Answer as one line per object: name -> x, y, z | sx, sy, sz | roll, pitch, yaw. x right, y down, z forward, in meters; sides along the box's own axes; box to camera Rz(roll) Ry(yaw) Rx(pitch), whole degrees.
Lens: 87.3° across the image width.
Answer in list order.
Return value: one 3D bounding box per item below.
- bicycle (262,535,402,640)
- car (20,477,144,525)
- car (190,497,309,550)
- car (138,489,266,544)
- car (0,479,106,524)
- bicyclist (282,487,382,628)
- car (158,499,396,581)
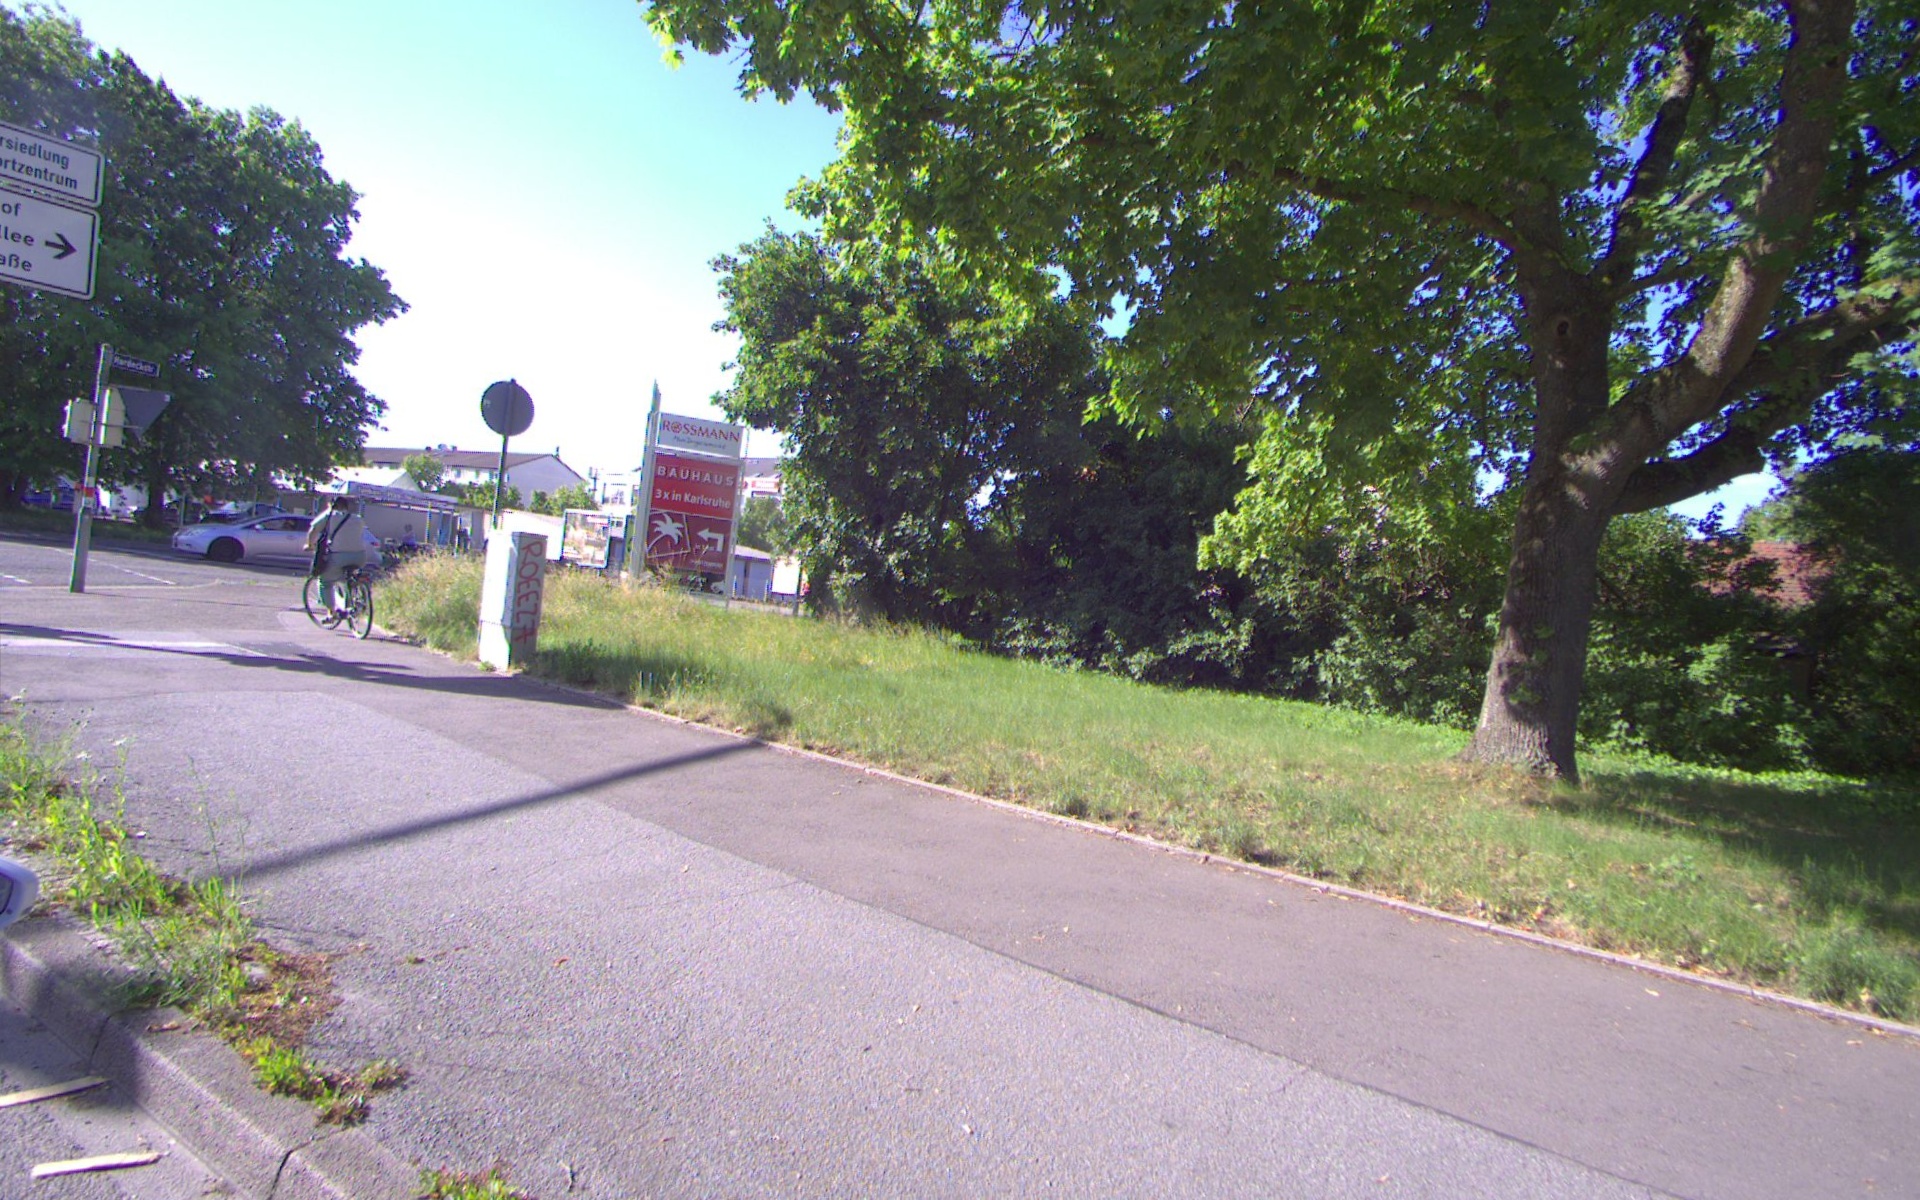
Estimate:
bicycle -> -7.556, -0.161, 12.067 | 1.955, 1.112, 0.579 | 5, 2, 32
car -> -39.024, -4.368, 44.845 | 1.712, 1.537, 3.902 | 7, 0, 9
car -> -30.137, -3.205, 42.825 | 1.712, 1.701, 4.001 | 7, 0, 9
car -> -32.190, -3.516, 42.872 | 1.962, 1.772, 4.000 | 7, 1, 9
car -> -41.835, -4.497, 46.071 | 1.712, 1.537, 3.902 | 7, 0, 9
bicyclist -> -7.529, -0.513, 12.055 | 0.981, 1.602, 0.579 | 5, 2, 32
car -> -18.486, -1.586, 27.428 | 1.973, 1.504, 4.994 | 7, 0, 43
